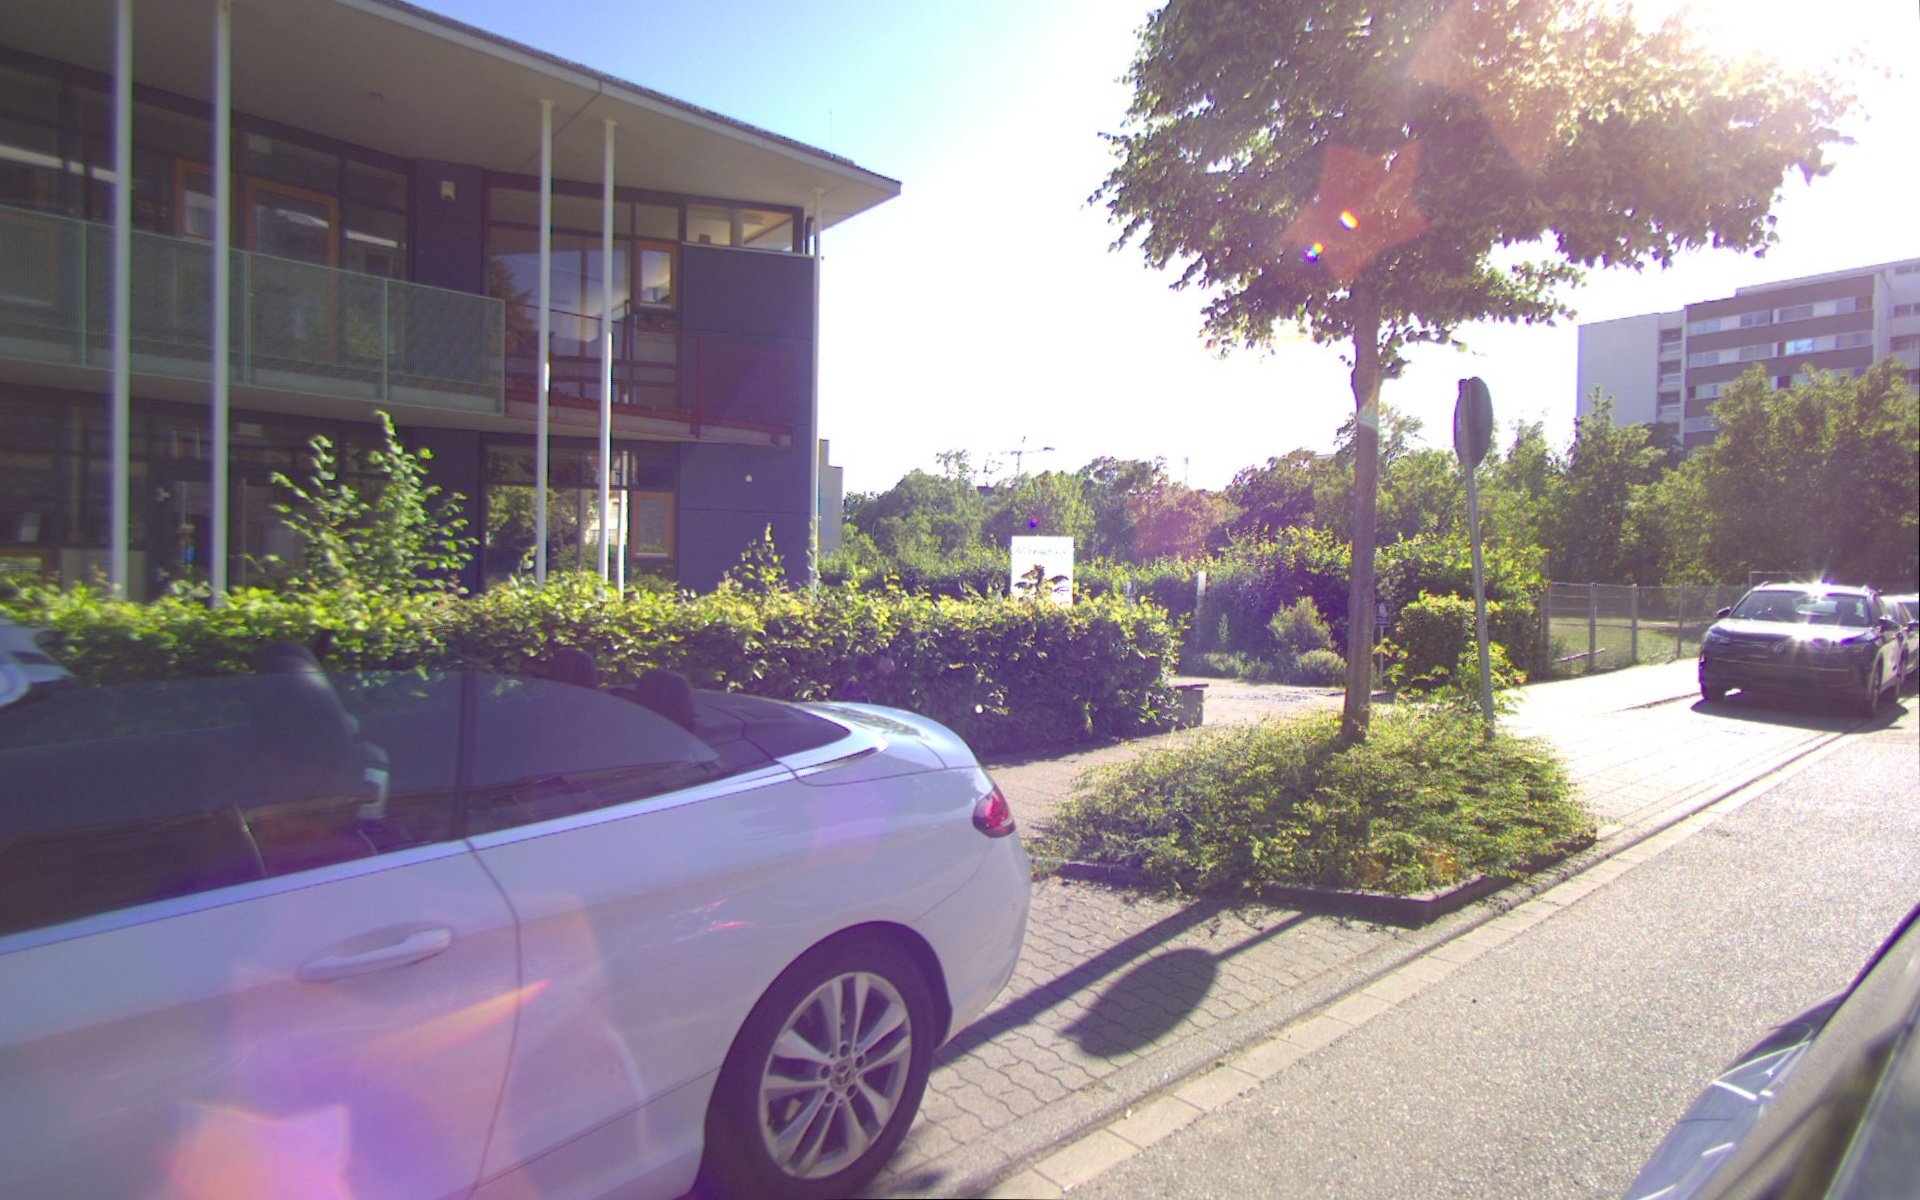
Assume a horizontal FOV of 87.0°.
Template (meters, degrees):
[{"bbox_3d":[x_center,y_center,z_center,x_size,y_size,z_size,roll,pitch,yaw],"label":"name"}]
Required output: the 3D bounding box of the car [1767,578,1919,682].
[{"bbox_3d":[15.658,0.450,17.591,3.775,1.484,1.822,0,5,-41],"label":"car"}]

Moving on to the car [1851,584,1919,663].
[{"bbox_3d":[21.059,0.491,22.122,3.776,1.484,1.822,-2,6,-41],"label":"car"}]

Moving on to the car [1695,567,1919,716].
[{"bbox_3d":[12.011,0.464,14.126,4.410,1.667,1.822,0,5,-41],"label":"car"}]

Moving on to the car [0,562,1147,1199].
[{"bbox_3d":[-1.830,0.634,2.048,4.698,1.336,1.965,0,4,-44],"label":"car"}]

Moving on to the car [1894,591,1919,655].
[{"bbox_3d":[25.255,0.600,25.804,3.640,1.484,1.644,-2,6,-41],"label":"car"}]
